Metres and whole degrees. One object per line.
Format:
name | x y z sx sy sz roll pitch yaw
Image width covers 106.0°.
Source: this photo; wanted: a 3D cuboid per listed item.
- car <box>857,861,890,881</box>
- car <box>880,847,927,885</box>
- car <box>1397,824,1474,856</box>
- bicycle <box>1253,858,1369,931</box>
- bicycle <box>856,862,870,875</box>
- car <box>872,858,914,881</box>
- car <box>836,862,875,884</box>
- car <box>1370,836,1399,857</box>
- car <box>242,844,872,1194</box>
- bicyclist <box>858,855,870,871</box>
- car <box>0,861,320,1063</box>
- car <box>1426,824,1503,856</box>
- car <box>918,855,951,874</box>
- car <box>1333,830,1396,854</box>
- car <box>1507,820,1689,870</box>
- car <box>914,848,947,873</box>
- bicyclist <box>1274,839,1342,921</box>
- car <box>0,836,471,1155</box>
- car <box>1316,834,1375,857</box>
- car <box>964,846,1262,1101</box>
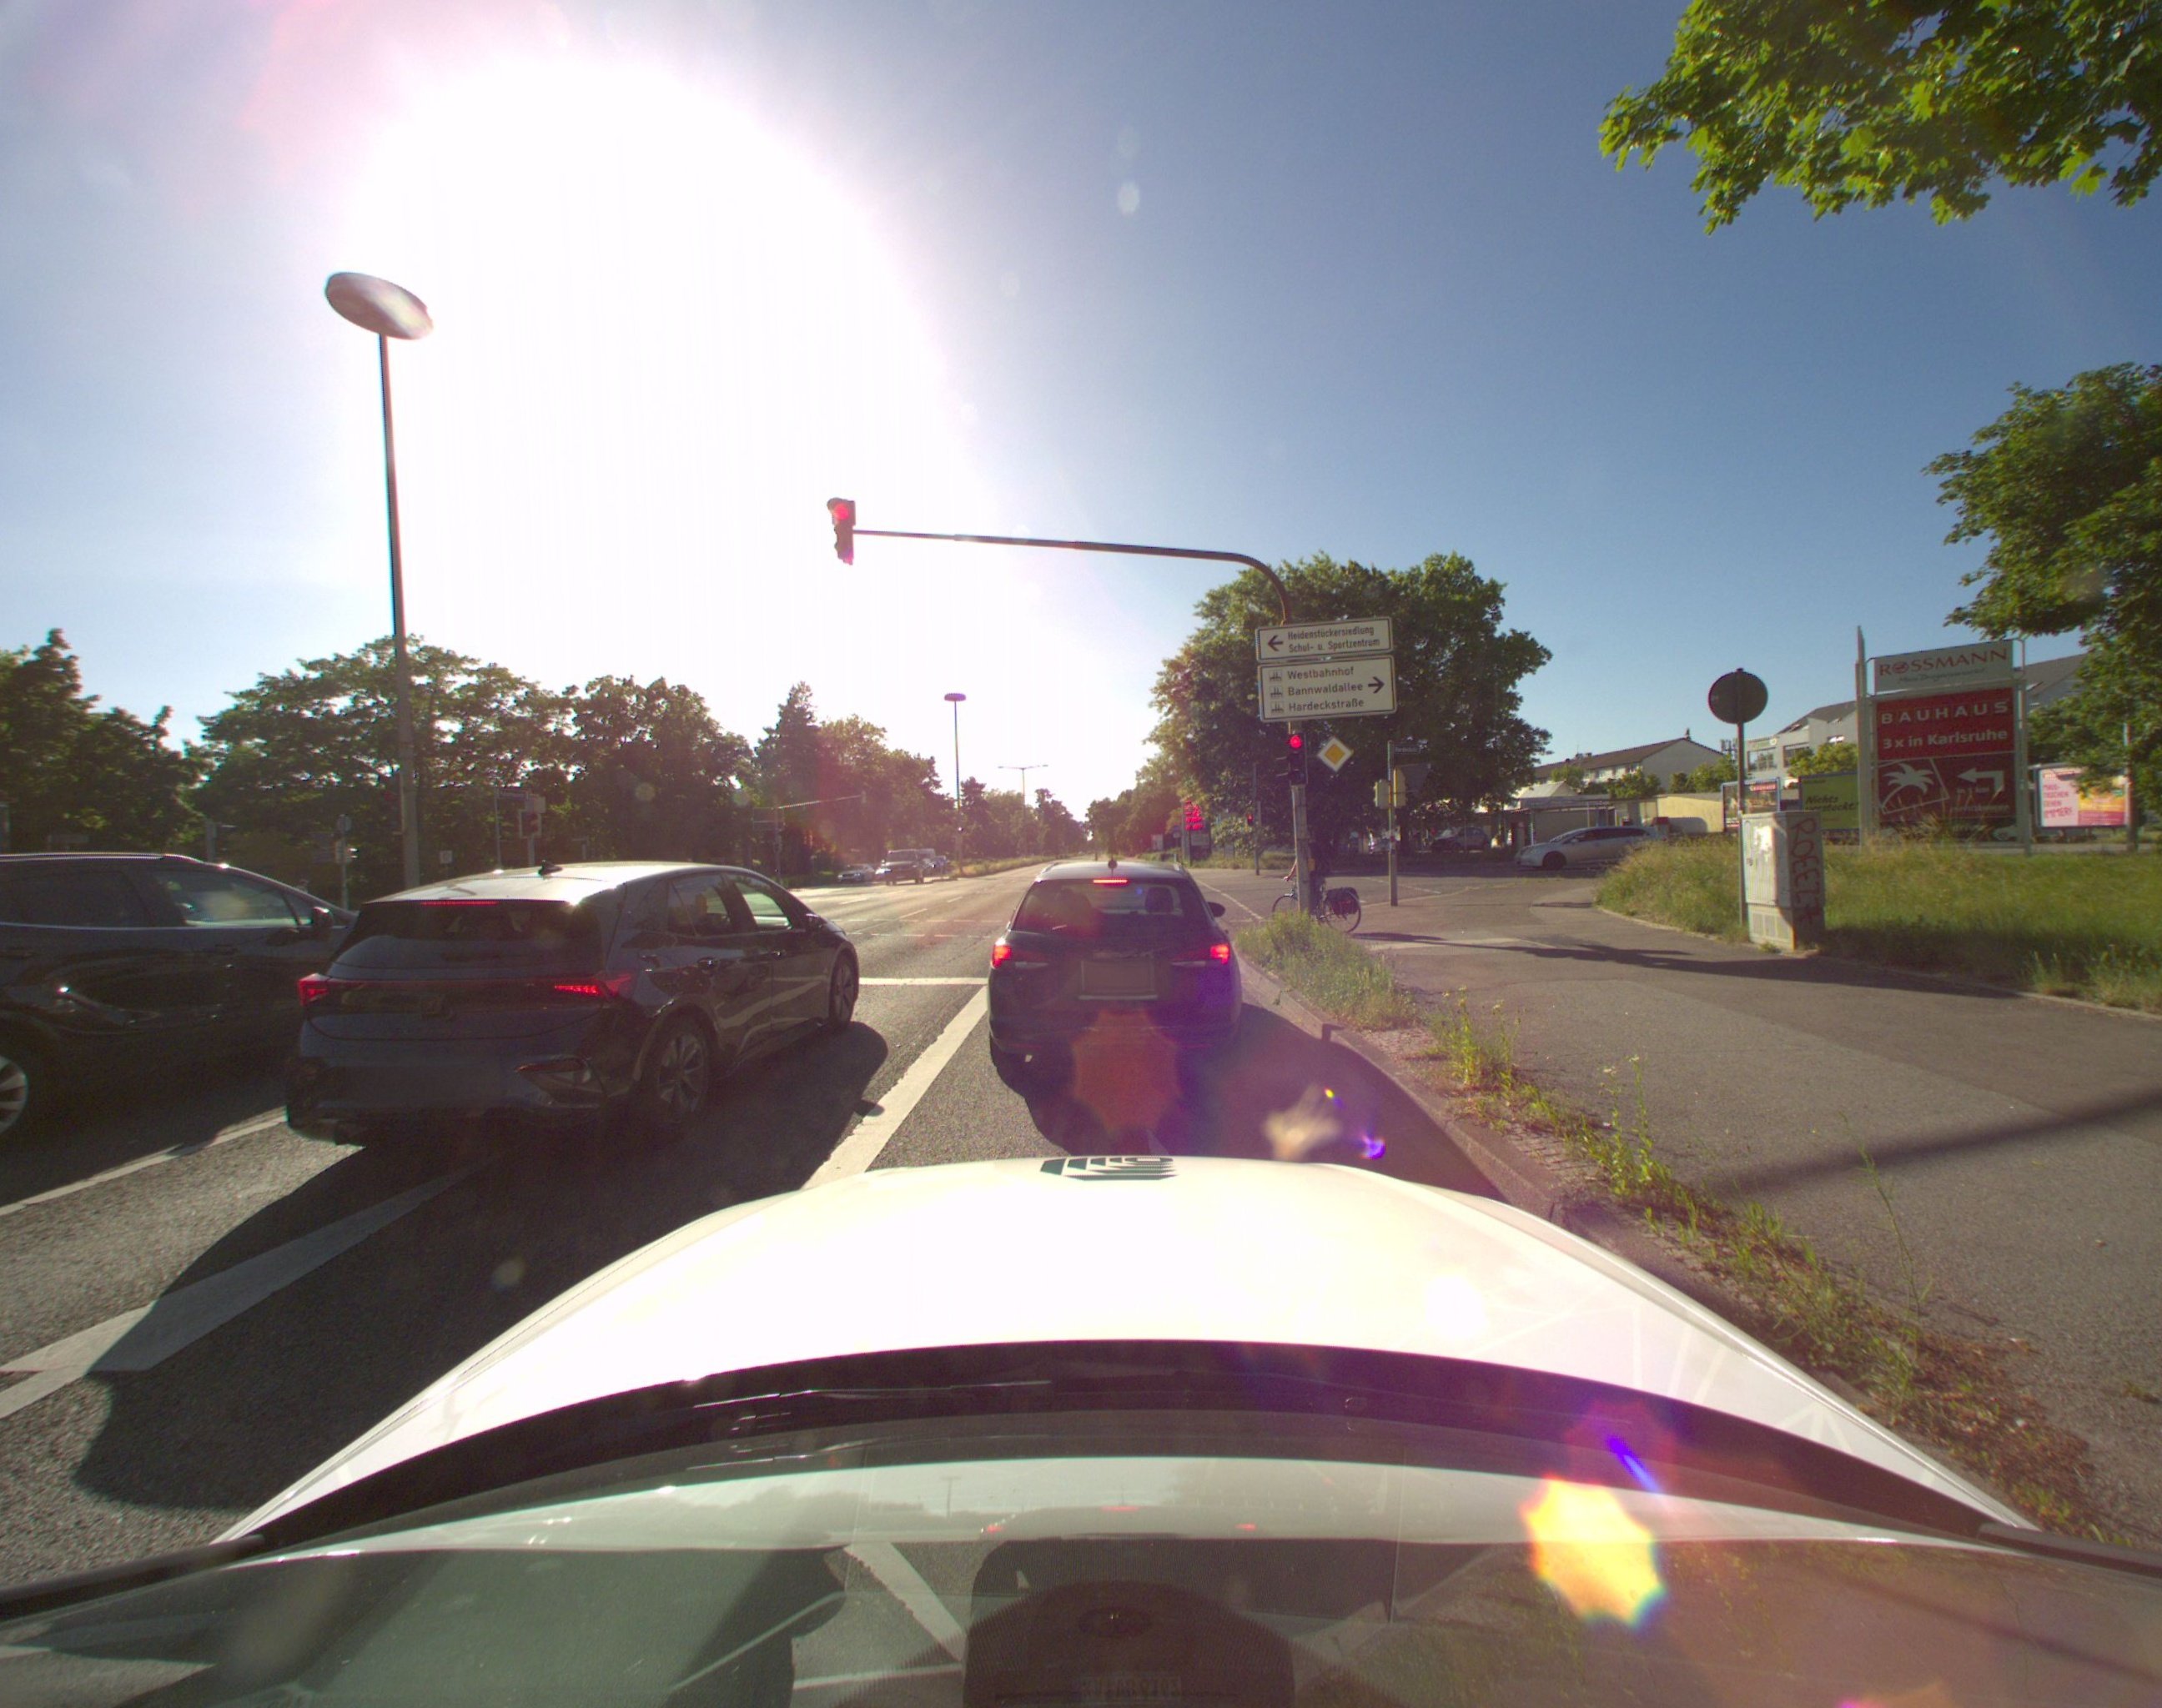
car | -17.507 1.450 68.762 1.681 1.509 4.003 -3 0 0
car | -10.187 0.657 47.106 1.908 1.992 5.006 -3 0 -5
car | 21.483 -0.846 49.399 4.003 1.750 1.985 -2 0 -22
bicycle | 3.736 0.684 13.363 0.541 1.097 1.755 -3 -2 -42
bicycle | -23.016 1.528 85.991 0.873 1.212 2.534 -3 0 -2
car | -13.992 1.160 60.892 1.881 1.524 4.506 -3 0 2
car | -17.181 1.426 62.337 1.680 1.509 4.005 -3 0 2
car | 26.248 -0.659 70.376 1.723 1.680 4.025 -3 0 29
car | -2.954 0.770 5.847 1.678 1.580 4.208 -1 0 2
bicyclist | -22.898 0.914 85.916 0.873 1.648 1.198 -3 0 -3
car | -10.218 0.985 7.912 1.824 1.702 3.999 -3 0 0
car | 22.381 -0.819 47.518 4.002 1.680 1.733 -3 0 -21
car | -13.640 0.936 75.998 1.986 1.601 4.617 -3 0 2
car | 19.665 -0.826 56.425 3.903 1.517 1.733 -3 0 -21
car | 17.973 -0.300 28.582 4.969 1.486 2.007 -2 0 13
car | -16.101 0.699 87.437 2.092 2.492 6.006 -3 0 2
bicyclist | 3.723 0.438 13.366 0.541 1.277 0.819 -3 -2 -42
car | -6.615 0.785 5.509 1.798 1.689 4.002 -3 0 2
car | 19.330 -0.619 59.517 3.903 1.517 1.733 -3 0 -21
car | 0.254 0.723 6.956 1.750 1.495 4.208 -1 0 2
